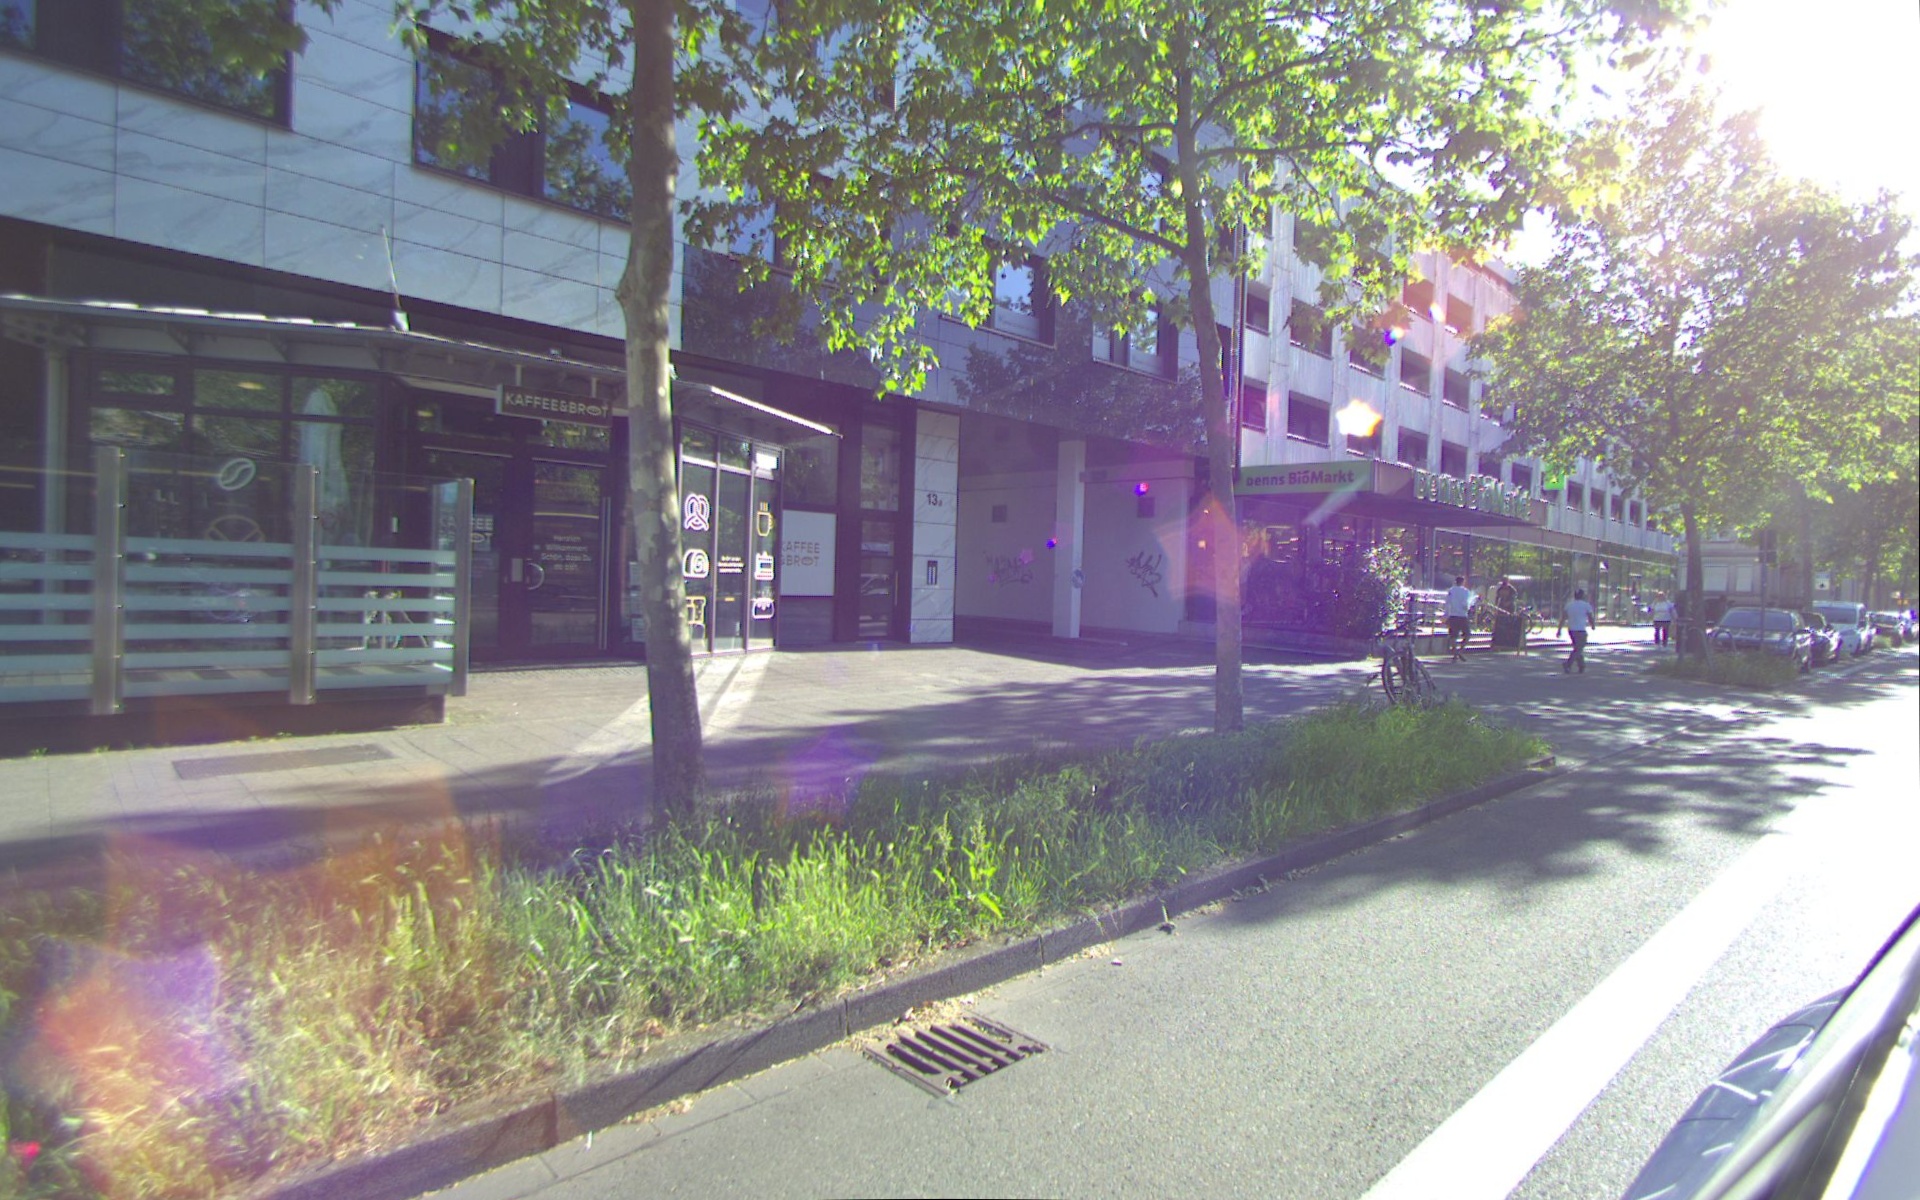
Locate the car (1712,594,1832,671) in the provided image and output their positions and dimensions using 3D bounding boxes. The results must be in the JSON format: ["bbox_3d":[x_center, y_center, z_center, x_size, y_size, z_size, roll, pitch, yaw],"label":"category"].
[{"bbox_3d":[18.673,0.686,23.210,3.932,1.569,1.567,0,1,-43],"label":"car"}]

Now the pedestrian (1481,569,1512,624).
[{"bbox_3d":[17.566,-0.127,33.145,0.607,1.735,0.608,8,5,22],"label":"pedestrian"}]

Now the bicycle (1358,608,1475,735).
[{"bbox_3d":[4.770,0.681,10.508,0.785,1.147,1.824,3,2,34],"label":"bicycle"}]

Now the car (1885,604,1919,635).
[{"bbox_3d":[48.977,1.008,52.145,3.864,1.459,1.628,0,3,-44],"label":"car"}]

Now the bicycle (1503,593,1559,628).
[{"bbox_3d":[20.059,0.359,35.582,0.573,1.068,1.710,3,3,-16],"label":"bicycle"}]

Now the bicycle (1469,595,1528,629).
[{"bbox_3d":[16.907,0.362,31.814,0.573,0.927,1.656,5,2,-16],"label":"bicycle"}]

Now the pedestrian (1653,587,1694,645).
[{"bbox_3d":[20.726,0.460,29.402,0.853,1.632,0.699,1,3,-41],"label":"pedestrian"}]

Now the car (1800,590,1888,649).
[{"bbox_3d":[29.957,0.632,34.252,4.318,1.814,1.767,1,2,-43],"label":"car"}]

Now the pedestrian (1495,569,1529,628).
[{"bbox_3d":[16.468,-0.037,30.190,0.867,1.698,0.558,1,3,-44],"label":"pedestrian"}]

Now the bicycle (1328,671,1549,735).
[{"bbox_3d":[4.776,0.998,10.131,1.365,0.357,1.611,0,2,-43],"label":"bicycle"}]

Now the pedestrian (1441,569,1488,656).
[{"bbox_3d":[10.617,0.251,21.283,0.864,1.766,0.561,1,2,-44],"label":"pedestrian"}]

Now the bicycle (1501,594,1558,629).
[{"bbox_3d":[19.473,0.378,34.612,0.573,1.068,1.710,4,2,-16],"label":"bicycle"}]

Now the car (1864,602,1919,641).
[{"bbox_3d":[41.282,0.920,44.740,3.630,1.455,1.675,-1,5,-44],"label":"car"}]

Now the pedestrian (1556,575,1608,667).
[{"bbox_3d":[12.125,0.399,19.733,1.034,1.725,0.561,1,2,-44],"label":"pedestrian"}]

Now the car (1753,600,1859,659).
[{"bbox_3d":[23.270,0.746,27.776,4.622,1.436,1.763,0,1,-44],"label":"car"}]
